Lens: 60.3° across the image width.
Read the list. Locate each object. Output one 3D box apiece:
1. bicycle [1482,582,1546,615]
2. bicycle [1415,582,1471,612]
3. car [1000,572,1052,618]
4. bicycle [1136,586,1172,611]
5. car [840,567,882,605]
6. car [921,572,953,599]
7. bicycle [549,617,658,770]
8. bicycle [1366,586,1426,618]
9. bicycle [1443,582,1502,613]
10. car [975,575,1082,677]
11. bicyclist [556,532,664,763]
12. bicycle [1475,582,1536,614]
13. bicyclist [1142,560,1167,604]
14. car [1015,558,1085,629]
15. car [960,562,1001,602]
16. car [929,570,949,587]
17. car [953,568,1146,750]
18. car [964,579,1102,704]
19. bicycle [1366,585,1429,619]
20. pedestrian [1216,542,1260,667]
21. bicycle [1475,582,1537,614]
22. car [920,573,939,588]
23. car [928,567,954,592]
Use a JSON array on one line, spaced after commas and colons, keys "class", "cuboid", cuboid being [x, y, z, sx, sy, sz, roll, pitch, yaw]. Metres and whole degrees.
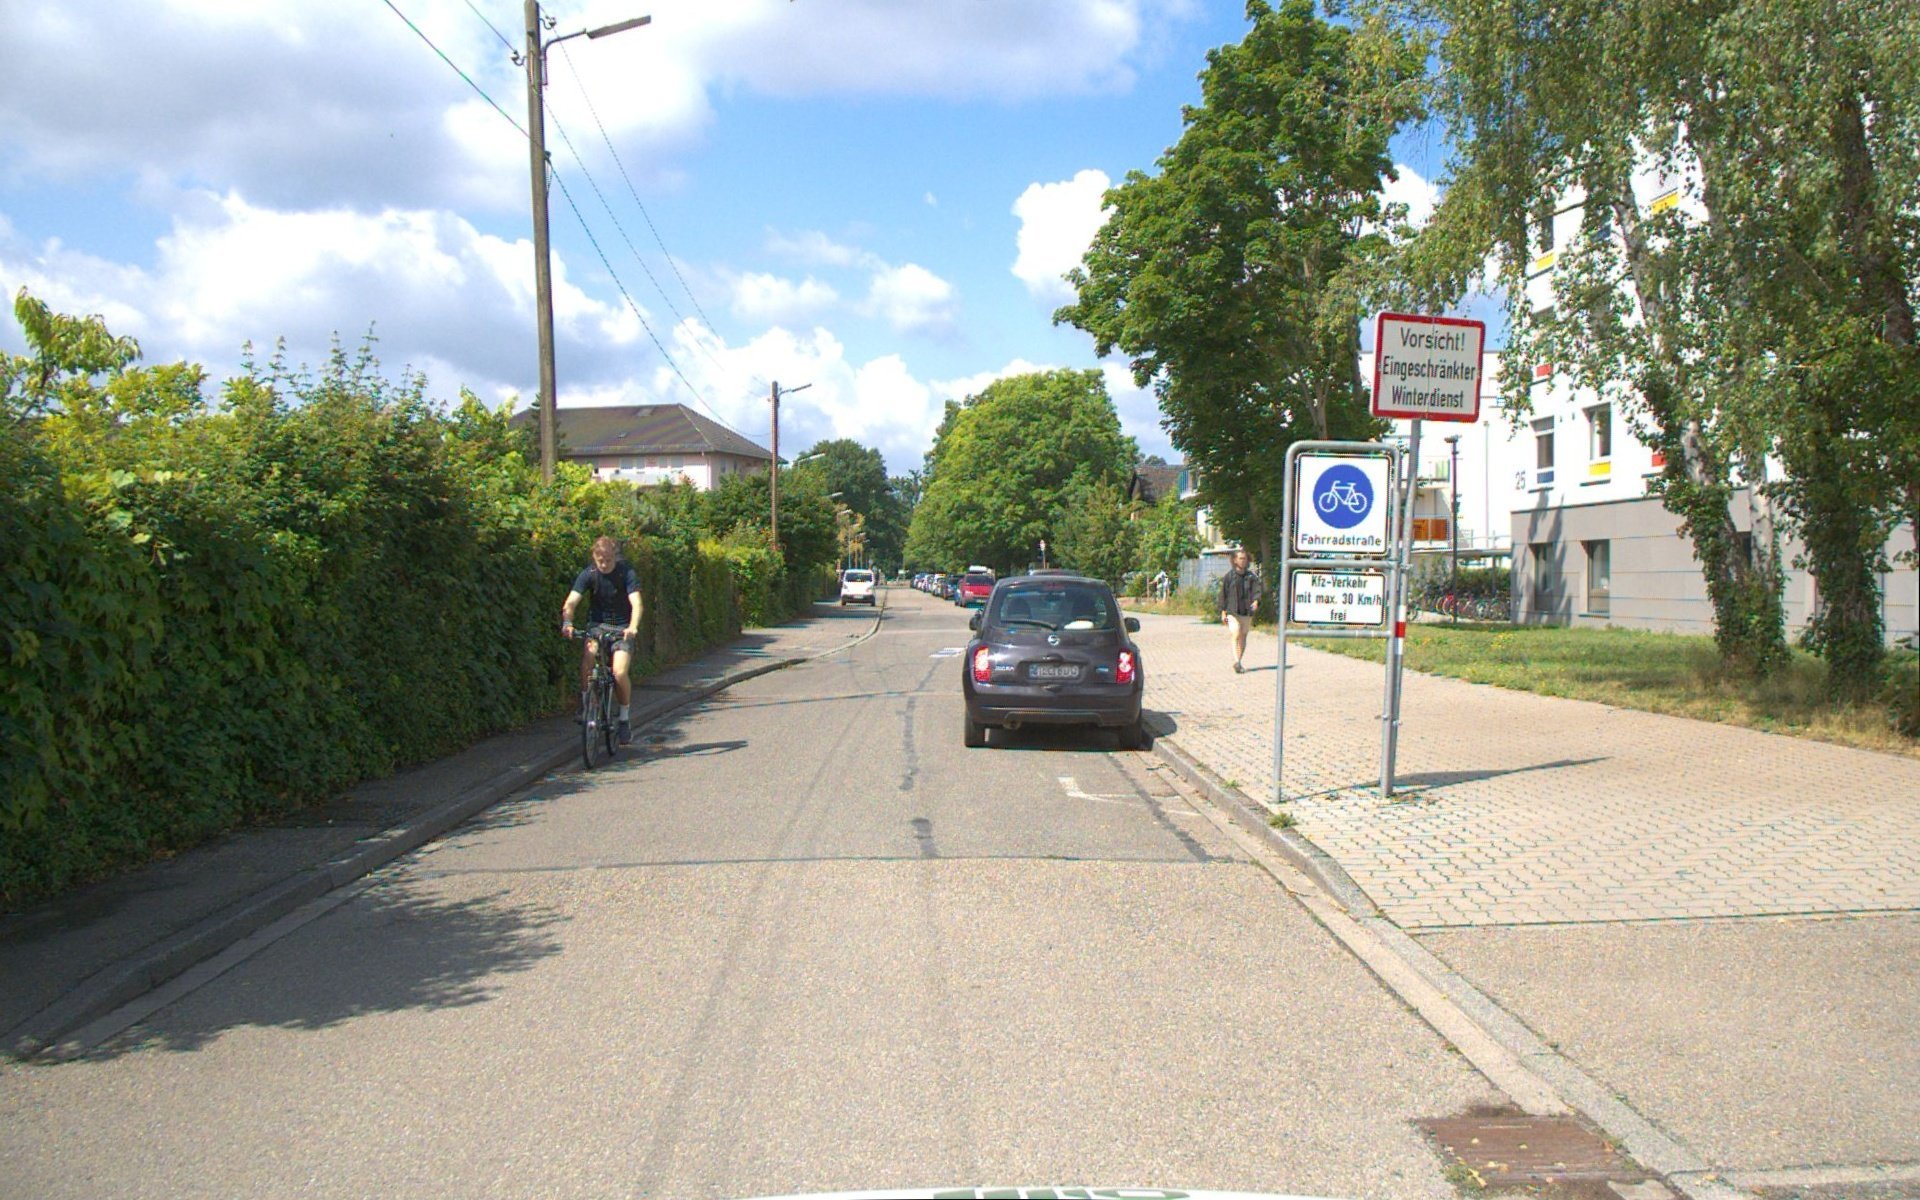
[{"class": "bicycle", "cuboid": [19.738, -0.044, 58.959, 2.005, 1.098, 0.688, -2, 0, 1]}, {"class": "bicycle", "cuboid": [19.029, -0.128, 65.207, 2.005, 1.098, 0.688, -2, 0, 1]}, {"class": "car", "cuboid": [2.321, -0.201, 58.818, 1.644, 1.545, 4.000, 1, 0, 0]}, {"class": "bicycle", "cuboid": [8.177, -0.058, 69.790, 0.842, 1.044, 1.817, 1, 0, 30]}, {"class": "car", "cuboid": [-5.009, -0.696, 84.275, 1.864, 1.846, 4.000, 1, 0, 0]}, {"class": "car", "cuboid": [-1.472, -0.946, 108.928, 2.016, 1.681, 4.541, 1, 0, 0]}, {"class": "bicycle", "cuboid": [-3.025, 0.755, 14.158, 0.507, 1.170, 1.827, -2, 1, 0]}, {"class": "bicycle", "cuboid": [15.962, 0.076, 60.565, 2.005, 1.098, 0.688, -2, 0, 1]}, {"class": "bicycle", "cuboid": [19.458, -0.097, 62.851, 2.005, 1.098, 0.688, -2, 0, 1]}, {"class": "car", "cuboid": [1.206, 0.395, 27.860, 1.628, 1.579, 3.639, 1, 0, 5]}, {"class": "bicyclist", "cuboid": [-2.980, 0.383, 14.148, 0.645, 1.884, 1.043, -2, 0, 0]}, {"class": "bicycle", "cuboid": [19.967, -0.092, 60.575, 2.005, 1.098, 0.688, -2, 0, 1]}, {"class": "bicyclist", "cuboid": [8.202, -0.760, 69.750, 0.770, 1.817, 0.892, 1, 0, 30]}, {"class": "car", "cuboid": [2.449, -0.193, 45.561, 1.835, 1.837, 3.433, 1, 0, 2]}, {"class": "car", "cuboid": [1.040, -0.917, 84.480, 2.016, 1.959, 4.541, 1, 0, 0]}, {"class": "car", "cuboid": [-2.051, -2.103, 163.666, 1.813, 1.646, 4.001, 0, 1, 2]}, {"class": "car", "cuboid": [0.847, 0.491, 16.199, 1.629, 1.532, 4.001, 1, 0, 2]}, {"class": "car", "cuboid": [0.959, 0.479, 21.902, 1.629, 1.465, 4.208, 1, 0, 2]}, {"class": "bicycle", "cuboid": [15.563, 0.081, 58.870, 2.045, 1.139, 0.625, -2, 0, 2]}, {"class": "pedestrian", "cuboid": [4.055, 0.059, 24.098, 0.597, 1.776, 0.722, 1, 0, 11]}, {"class": "bicycle", "cuboid": [19.744, -0.085, 59.794, 2.005, 1.098, 0.688, -2, 0, 1]}, {"class": "car", "cuboid": [-3.301, -2.104, 178.504, 1.813, 1.646, 4.001, 1, 0, 2]}, {"class": "car", "cuboid": [-1.545, -1.649, 134.239, 2.016, 1.996, 4.541, 1, 0, 0]}]
